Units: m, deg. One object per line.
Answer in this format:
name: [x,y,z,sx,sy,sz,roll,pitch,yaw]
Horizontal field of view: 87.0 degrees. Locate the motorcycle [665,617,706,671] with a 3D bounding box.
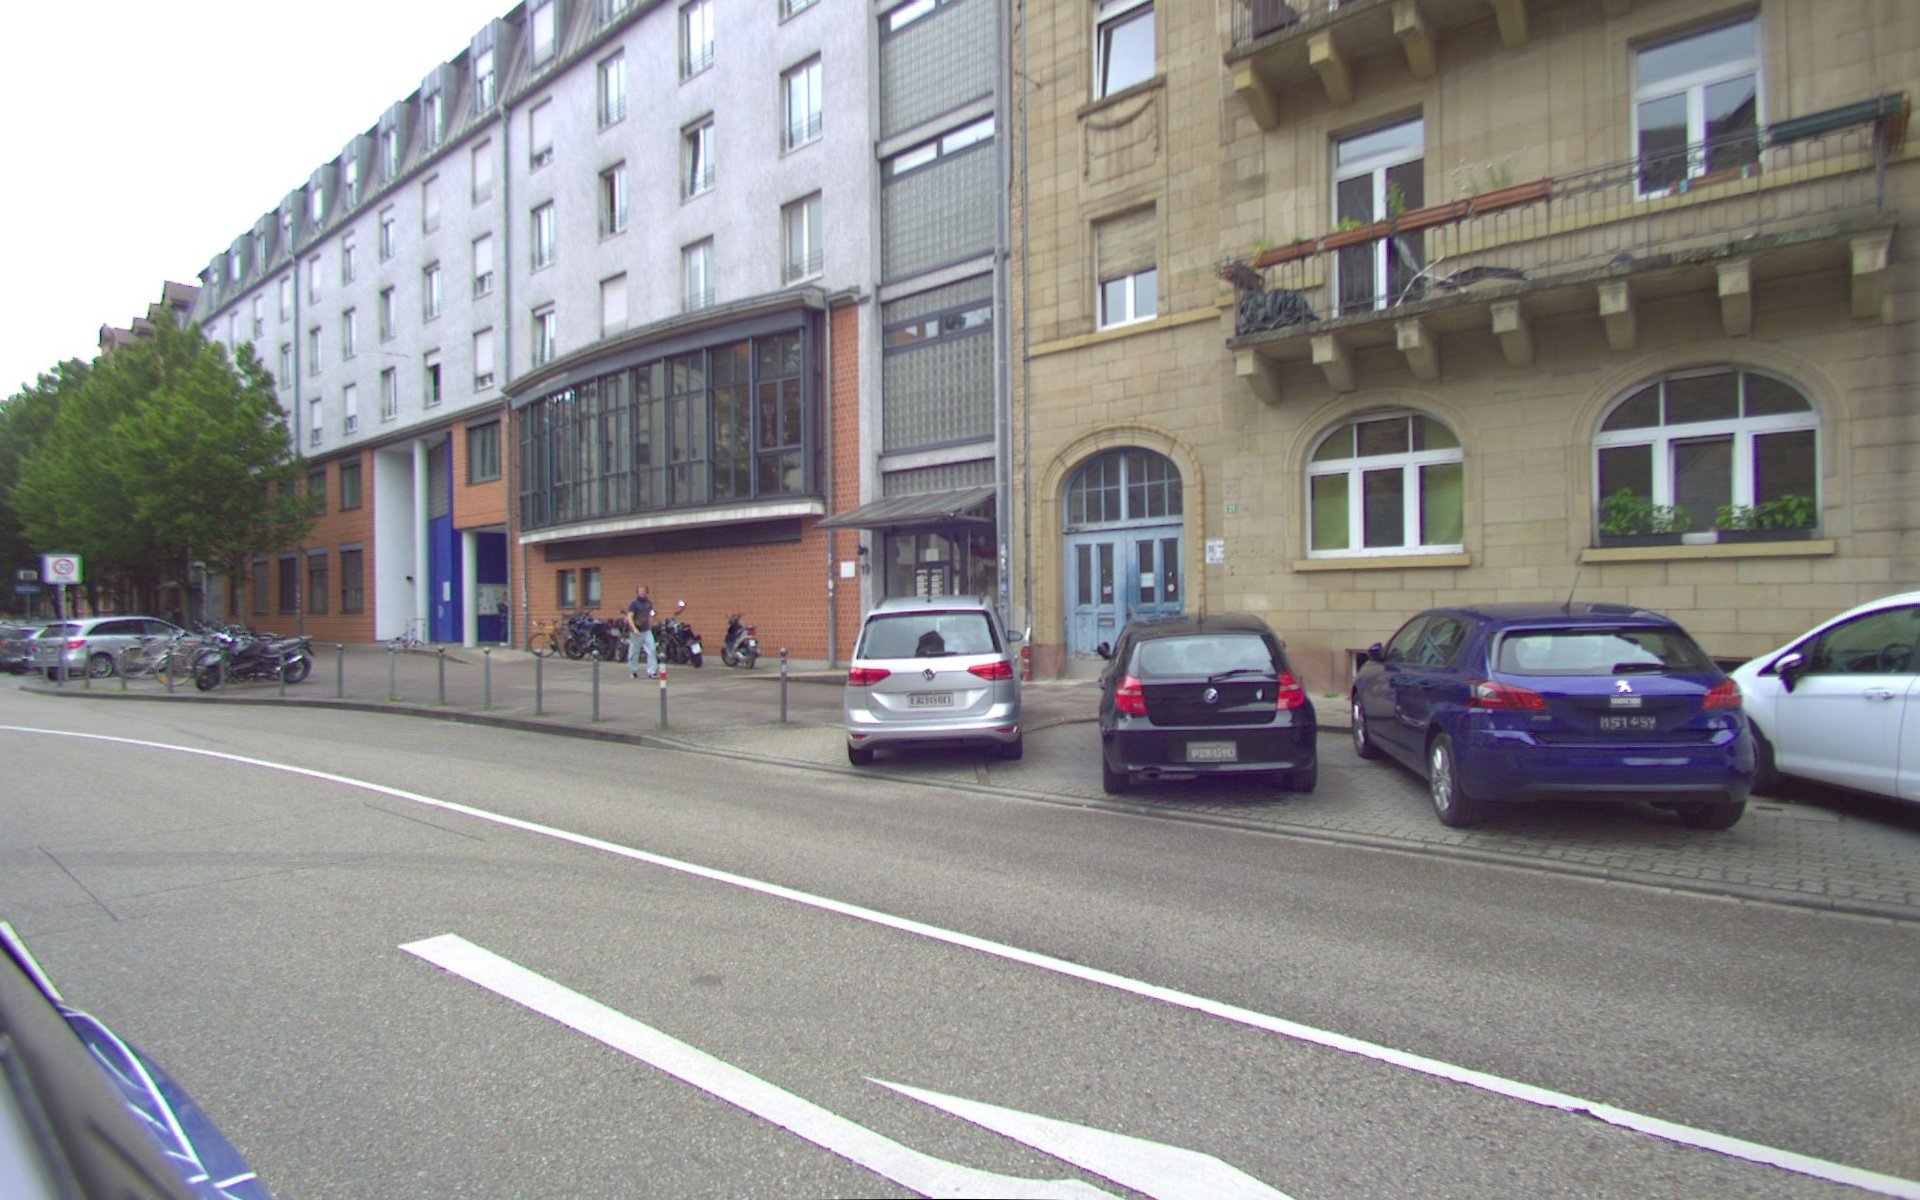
motorcycle: [-5.892,0.927,21.678,0.438,1.106,1.768,0,-1,-29]

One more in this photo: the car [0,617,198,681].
car: [-24.244,1.337,28.588,1.983,1.641,3.977,-1,-1,18]

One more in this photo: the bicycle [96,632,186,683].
bicycle: [-19.511,1.354,24.139,0.416,1.082,1.609,-1,1,39]

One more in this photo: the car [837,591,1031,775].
car: [-0.198,0.740,11.197,1.710,1.565,3.999,-2,1,1]

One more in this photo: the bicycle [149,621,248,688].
bicycle: [-16.182,1.141,21.540,0.416,1.299,1.609,-1,1,39]

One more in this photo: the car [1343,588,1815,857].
car: [4.268,0.707,7.741,1.804,1.456,3.737,-2,1,10]

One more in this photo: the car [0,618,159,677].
car: [-26.888,1.375,30.441,1.983,1.641,3.977,-1,-1,18]

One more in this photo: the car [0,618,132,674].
car: [-29.108,1.408,32.102,1.983,1.641,3.977,-1,-1,18]

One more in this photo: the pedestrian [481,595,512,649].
pedestrian: [-14.501,0.693,31.670,0.622,1.662,0.677,-1,0,42]

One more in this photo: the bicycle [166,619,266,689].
bicycle: [-15.578,1.110,21.222,0.416,1.363,1.609,-1,1,39]

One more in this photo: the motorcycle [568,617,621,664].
motorcycle: [-8.932,0.987,24.717,1.762,1.106,0.440,-1,-1,42]

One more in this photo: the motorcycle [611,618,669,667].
motorcycle: [-7.408,0.973,23.413,1.762,1.106,0.440,-1,-1,42]

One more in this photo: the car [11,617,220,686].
car: [-22.235,1.298,26.847,1.758,1.641,3.977,-1,-1,18]

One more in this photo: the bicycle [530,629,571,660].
bicycle: [-10.758,1.162,26.553,1.581,0.793,0.332,-1,-1,42]

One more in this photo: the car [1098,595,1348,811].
car: [2.177,0.751,9.309,1.713,1.449,3.990,-2,1,9]

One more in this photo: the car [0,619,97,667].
car: [-33.588,1.521,36.005,1.983,1.641,3.977,-1,-1,18]

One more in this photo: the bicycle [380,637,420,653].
bicycle: [-17.604,1.416,31.822,0.527,0.440,0.997,1,0,42]

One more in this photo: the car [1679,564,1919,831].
car: [6.617,0.577,6.183,1.681,1.565,3.997,-2,1,3]

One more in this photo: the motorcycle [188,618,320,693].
motorcycle: [-14.407,1.098,20.707,0.599,1.363,2.096,-1,1,41]

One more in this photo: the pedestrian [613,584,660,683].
pedestrian: [-6.199,0.632,19.396,0.642,1.837,0.613,-2,-1,41]

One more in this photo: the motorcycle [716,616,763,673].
motorcycle: [-4.539,0.894,20.779,0.438,1.106,1.768,0,-1,-29]

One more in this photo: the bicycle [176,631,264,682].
bicycle: [-17.535,1.327,24.021,0.416,1.082,1.609,-1,1,39]

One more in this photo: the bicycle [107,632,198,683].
bicycle: [-19.075,1.349,23.946,0.416,1.082,1.609,-1,1,39]
